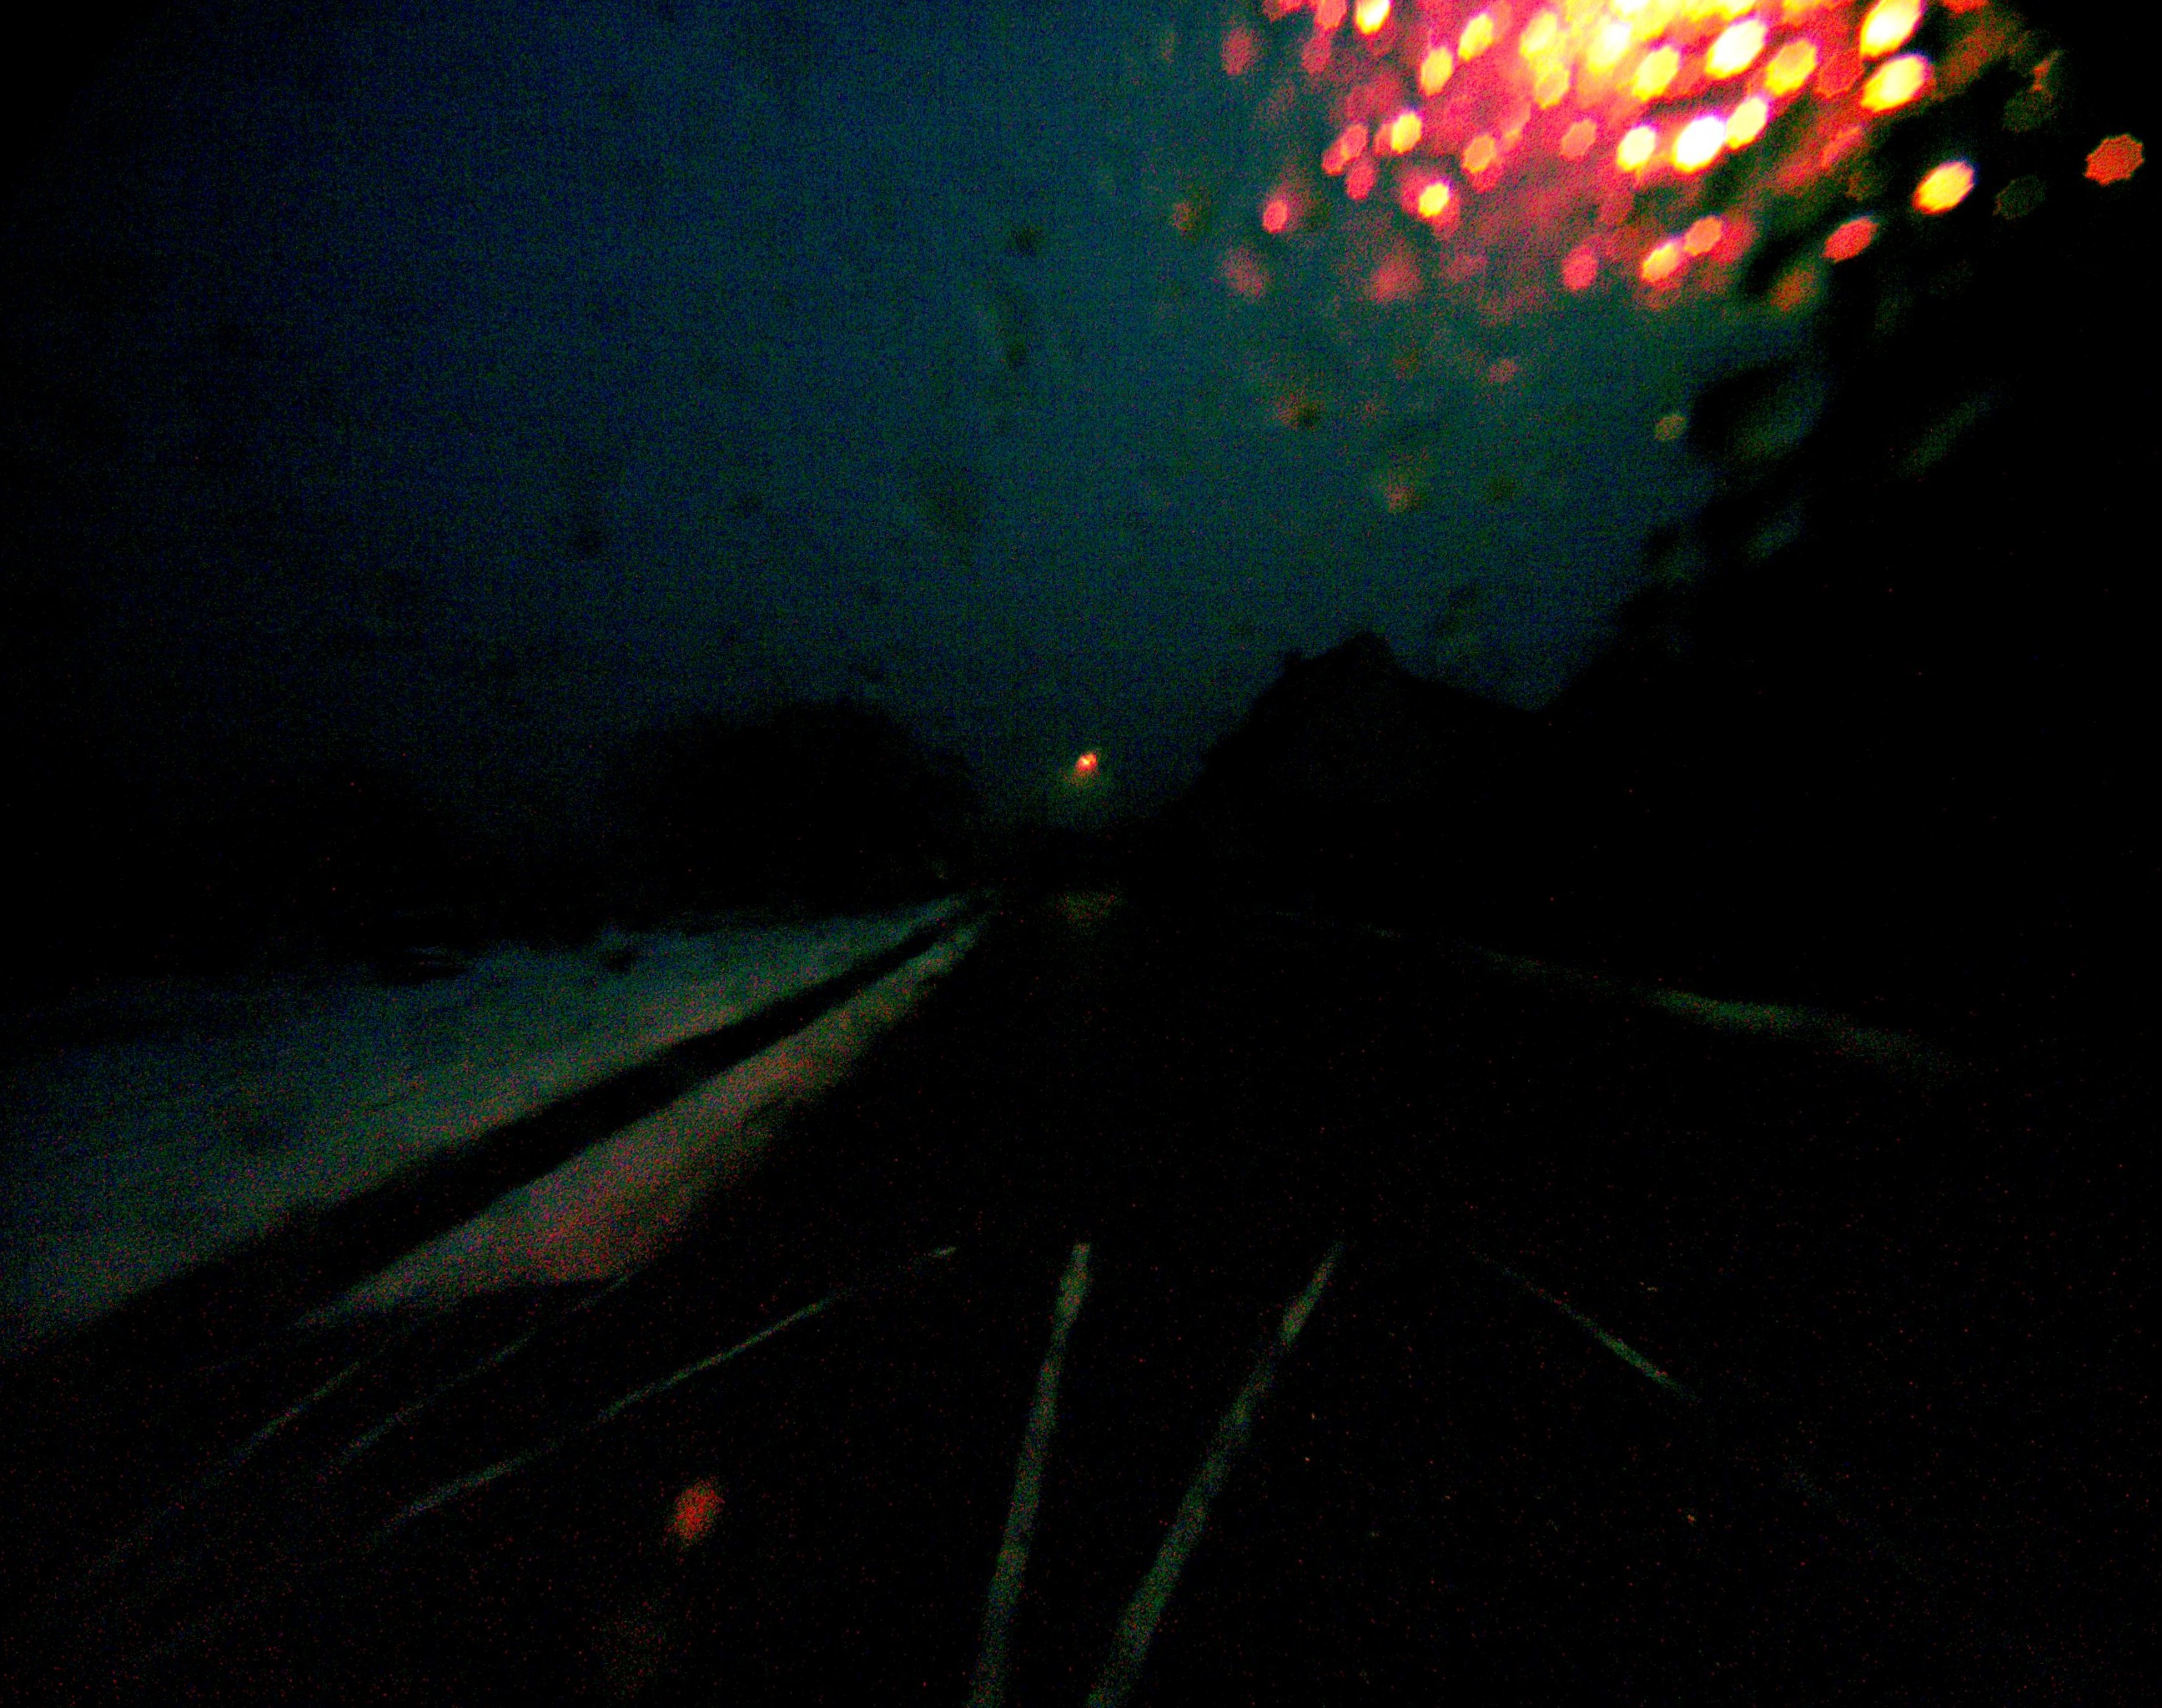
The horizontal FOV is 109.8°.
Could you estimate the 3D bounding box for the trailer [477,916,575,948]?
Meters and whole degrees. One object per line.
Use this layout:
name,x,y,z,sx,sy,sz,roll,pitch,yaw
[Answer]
trailer,-21.469,3.001,29.558,1.850,0.940,3.659,-1,-2,-14

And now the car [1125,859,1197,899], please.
car,3.165,0.999,31.307,1.882,1.417,5.390,-3,-1,-5

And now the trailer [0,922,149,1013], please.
trailer,-26.858,2.891,18.595,4.756,1.931,2.223,-4,-1,-9

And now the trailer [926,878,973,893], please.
trailer,-8.772,2.107,50.469,1.552,0.940,3.990,0,-2,-35

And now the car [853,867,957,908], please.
car,-8.337,1.560,36.381,4.462,1.373,2.035,-7,0,-4
